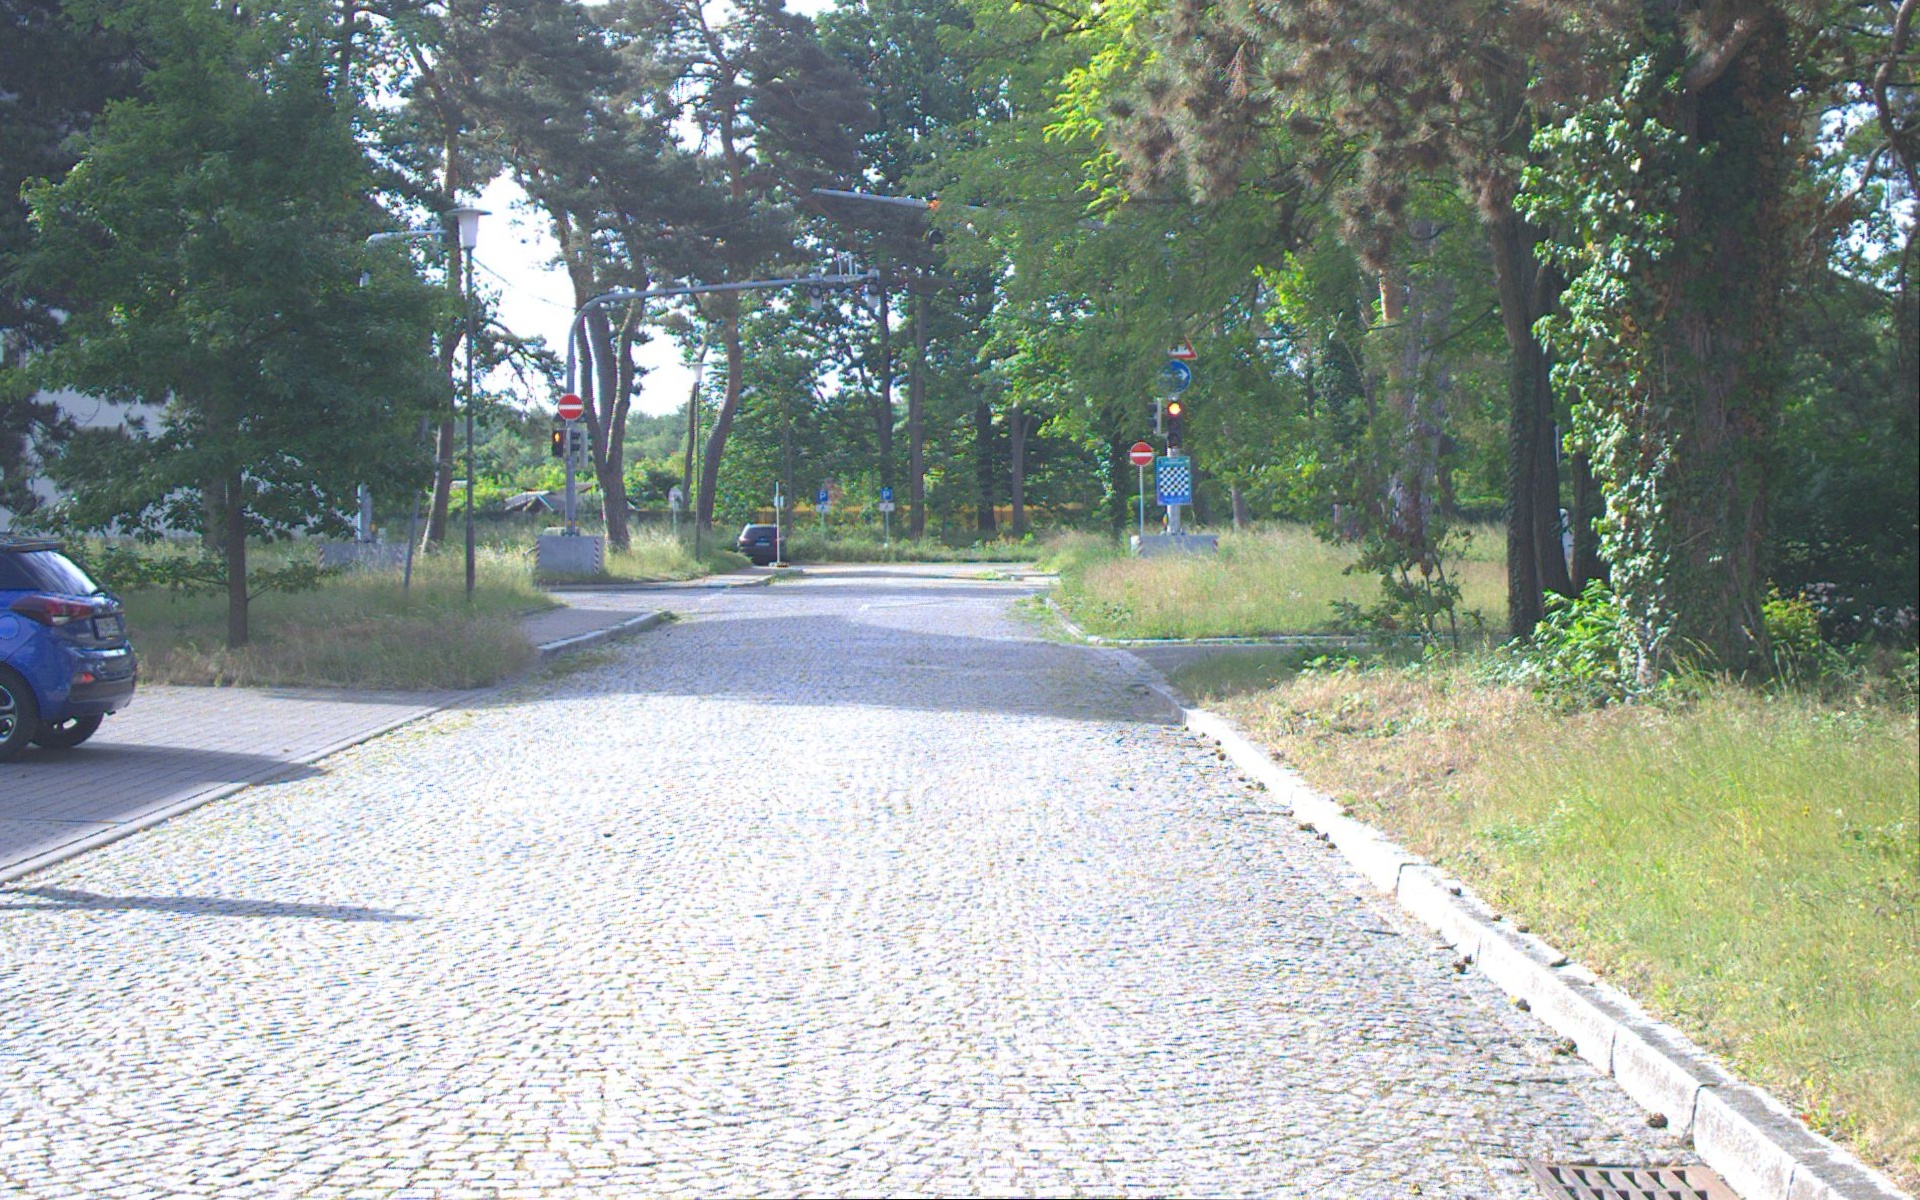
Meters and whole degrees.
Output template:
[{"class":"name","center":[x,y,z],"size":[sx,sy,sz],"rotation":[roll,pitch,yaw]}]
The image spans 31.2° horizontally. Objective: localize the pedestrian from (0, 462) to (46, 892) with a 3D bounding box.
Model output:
[{"class":"pedestrian","center":[-4.380,0.308,14.509],"size":[0.804,1.765,1.153],"rotation":[0,1,-4]}]

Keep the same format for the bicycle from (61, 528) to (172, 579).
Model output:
[{"class":"bicycle","center":[-17.497,-0.972,71.349],"size":[2.117,1.043,0.829],"rotation":[0,1,-3]}]

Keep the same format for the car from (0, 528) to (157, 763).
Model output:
[{"class":"car","center":[-7.439,0.231,22.666],"size":[3.836,1.459,1.720],"rotation":[2,1,1]}]

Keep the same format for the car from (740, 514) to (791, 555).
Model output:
[{"class":"car","center":[-7.279,-2.464,128.831],"size":[1.844,1.481,4.001],"rotation":[0,1,-3]}]

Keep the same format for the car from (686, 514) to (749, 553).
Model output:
[{"class":"car","center":[-9.402,-2.600,133.564],"size":[1.783,1.485,3.754],"rotation":[0,1,7]}]
